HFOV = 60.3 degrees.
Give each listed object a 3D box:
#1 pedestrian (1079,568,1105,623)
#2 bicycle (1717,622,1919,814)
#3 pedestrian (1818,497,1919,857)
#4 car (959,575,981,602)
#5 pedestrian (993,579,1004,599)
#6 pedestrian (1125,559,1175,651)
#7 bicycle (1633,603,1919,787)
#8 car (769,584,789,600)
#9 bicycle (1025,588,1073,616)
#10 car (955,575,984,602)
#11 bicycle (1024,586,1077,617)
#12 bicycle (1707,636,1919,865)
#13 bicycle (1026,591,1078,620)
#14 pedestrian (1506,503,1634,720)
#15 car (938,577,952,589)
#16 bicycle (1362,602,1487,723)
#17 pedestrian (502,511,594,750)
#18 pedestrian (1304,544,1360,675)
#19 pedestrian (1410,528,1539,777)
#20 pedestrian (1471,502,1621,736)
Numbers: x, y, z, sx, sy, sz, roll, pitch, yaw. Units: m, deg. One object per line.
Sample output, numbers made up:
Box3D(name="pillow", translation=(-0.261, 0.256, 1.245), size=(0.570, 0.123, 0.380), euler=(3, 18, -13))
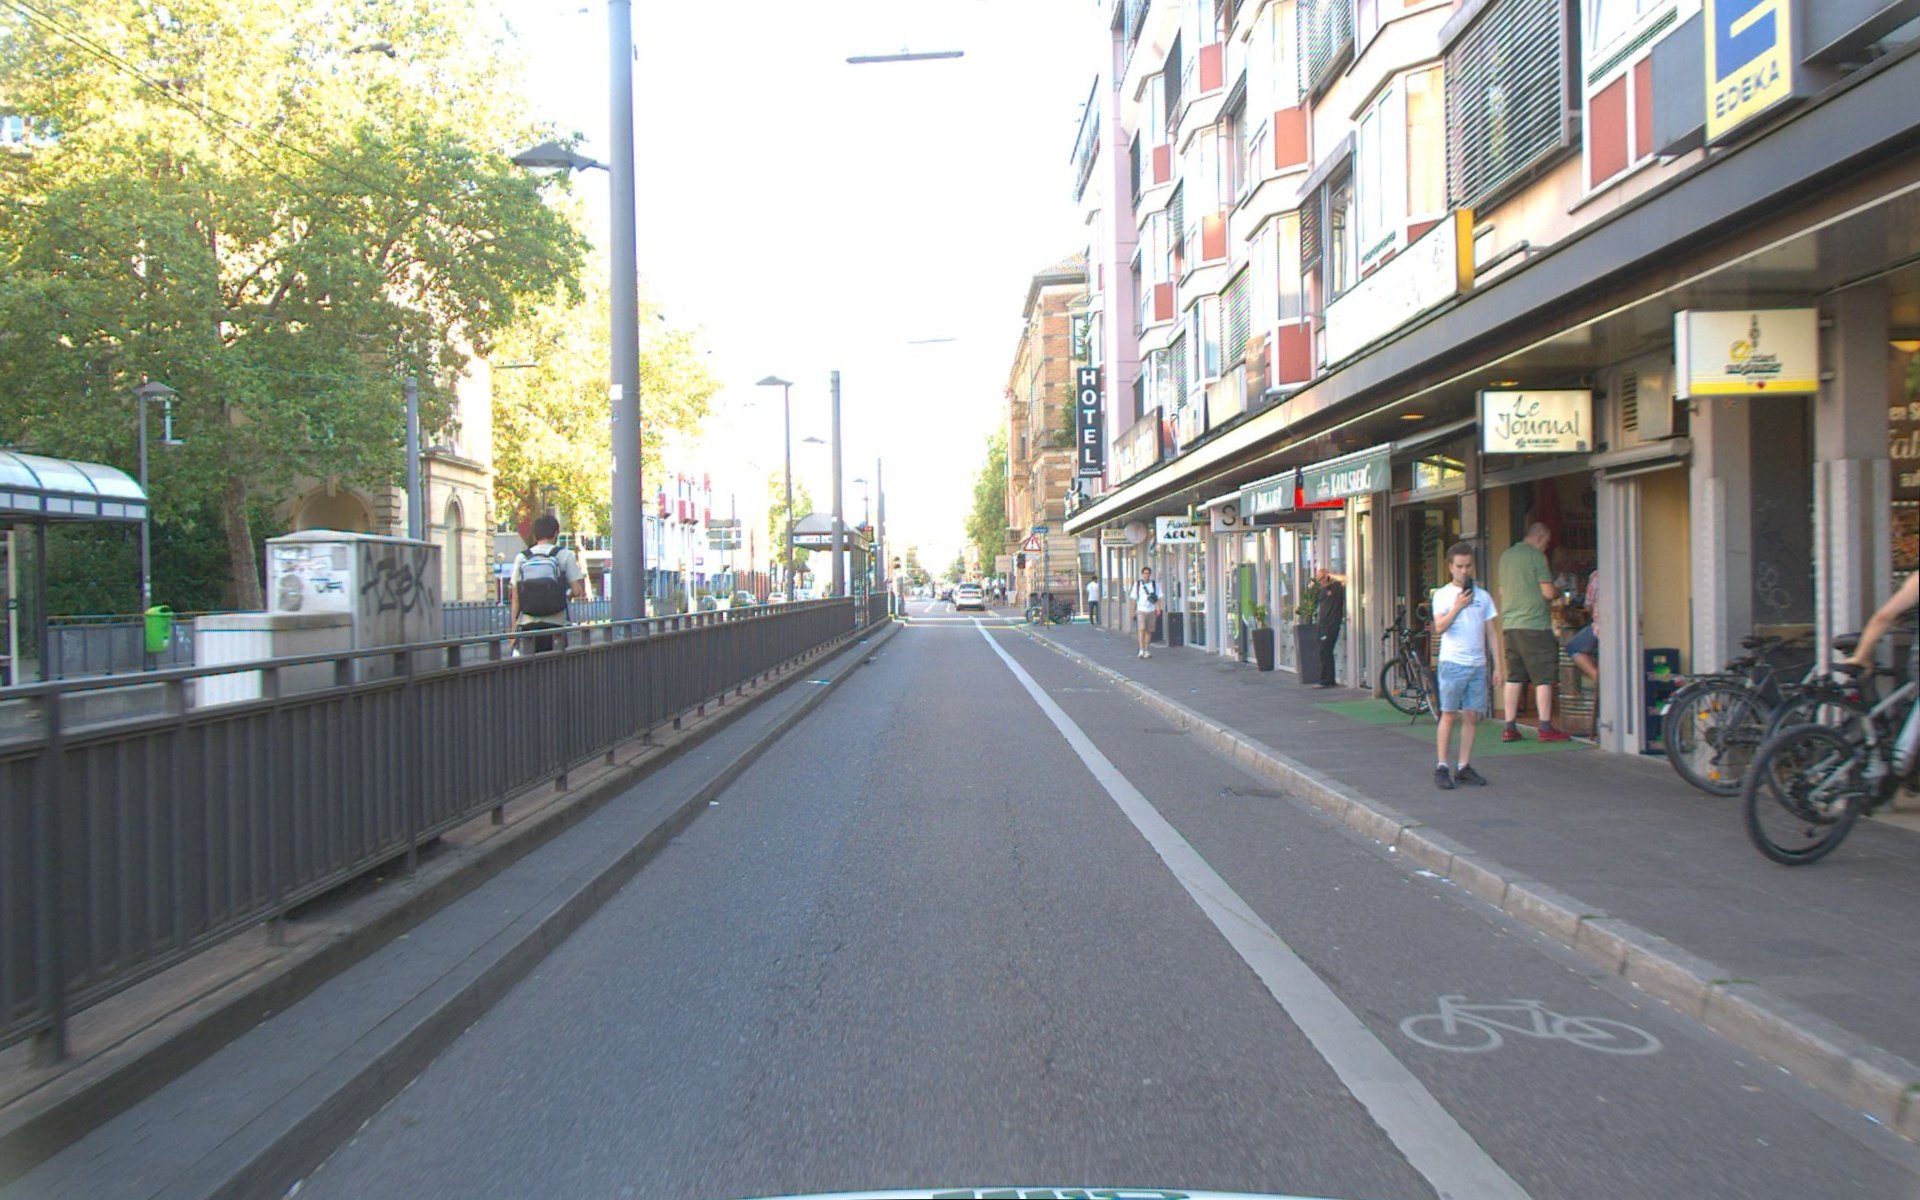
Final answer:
Box3D(name="pedestrian", translation=(4.697, -0.160, 58.725), size=(0.796, 1.917, 0.776), euler=(2, 0, 1))
Box3D(name="bicycle", translation=(5.350, 0.649, 9.512), size=(1.694, 0.990, 0.506), euler=(-4, 0, 4))
Box3D(name="pedestrian", translation=(4.861, 0.349, 8.092), size=(0.761, 1.692, 0.917), euler=(-3, 0, -2))
Box3D(name="car", translation=(0.841, -0.940, 135.540), size=(1.670, 2.157, 3.707), euler=(0, 0, 2))
Box3D(name="pedestrian", translation=(3.198, -0.926, 137.837), size=(0.760, 1.594, 0.914), euler=(-4, 0, 1))
Box3D(name="pedestrian", translation=(3.791, 0.102, 33.052), size=(0.782, 1.752, 1.061), euler=(-4, 0, 1))
Box3D(name="bicycle", translation=(5.500, 0.608, 10.875), size=(1.885, 1.078, 0.576), euler=(-3, 0, -1))
Box3D(name="car", translation=(-18.647, -0.853, 170.507), size=(1.832, 1.628, 4.251), euler=(0, 1, -3))
Box3D(name="bicycle", translation=(3.425, 0.079, 63.754), size=(1.797, 1.072, 0.717), euler=(-1, 0, -4))
Box3D(name="car", translation=(0.678, -0.790, 112.848), size=(1.926, 1.802, 4.875), euler=(0, 0, 0))
Box3D(name="bicycle", translation=(3.440, 0.064, 63.024), size=(1.931, 1.124, 0.614), euler=(-1, 0, -4))
Box3D(name="bicycle", translation=(4.832, 0.688, 8.118), size=(1.980, 0.990, 0.659), euler=(-4, 1, 2))
Box3D(name="bicycle", translation=(3.467, 0.190, 62.368), size=(1.875, 1.066, 0.680), euler=(-1, 0, -4))
Box3D(name="pedestrian", translation=(5.544, 0.101, 15.058), size=(0.766, 1.899, 0.683), euler=(-3, 0, -21))
Box3D(name="car", translation=(-2.154, -2.409, 234.581), size=(1.999, 1.703, 4.875), euler=(0, 1, -1))
Box3D(name="bicycle", translation=(4.670, 0.603, 16.745), size=(0.644, 1.085, 1.794), euler=(-5, 0, -1))
Box3D(name="pedestrian", translation=(-3.230, 0.230, 12.996), size=(0.571, 1.823, 0.606), euler=(-1, 0, -3))
Box3D(name="pedestrian", translation=(4.932, 0.120, 21.939), size=(0.531, 1.702, 0.468), euler=(-2, 0, -9))
Box3D(name="pedestrian", translation=(3.674, 0.361, 11.858), size=(0.619, 1.702, 0.771), euler=(-2, 0, -1))
Box3D(name="pedestrian", translation=(5.003, 0.157, 14.161), size=(0.896, 1.899, 0.779), euler=(-3, 0, -4))
